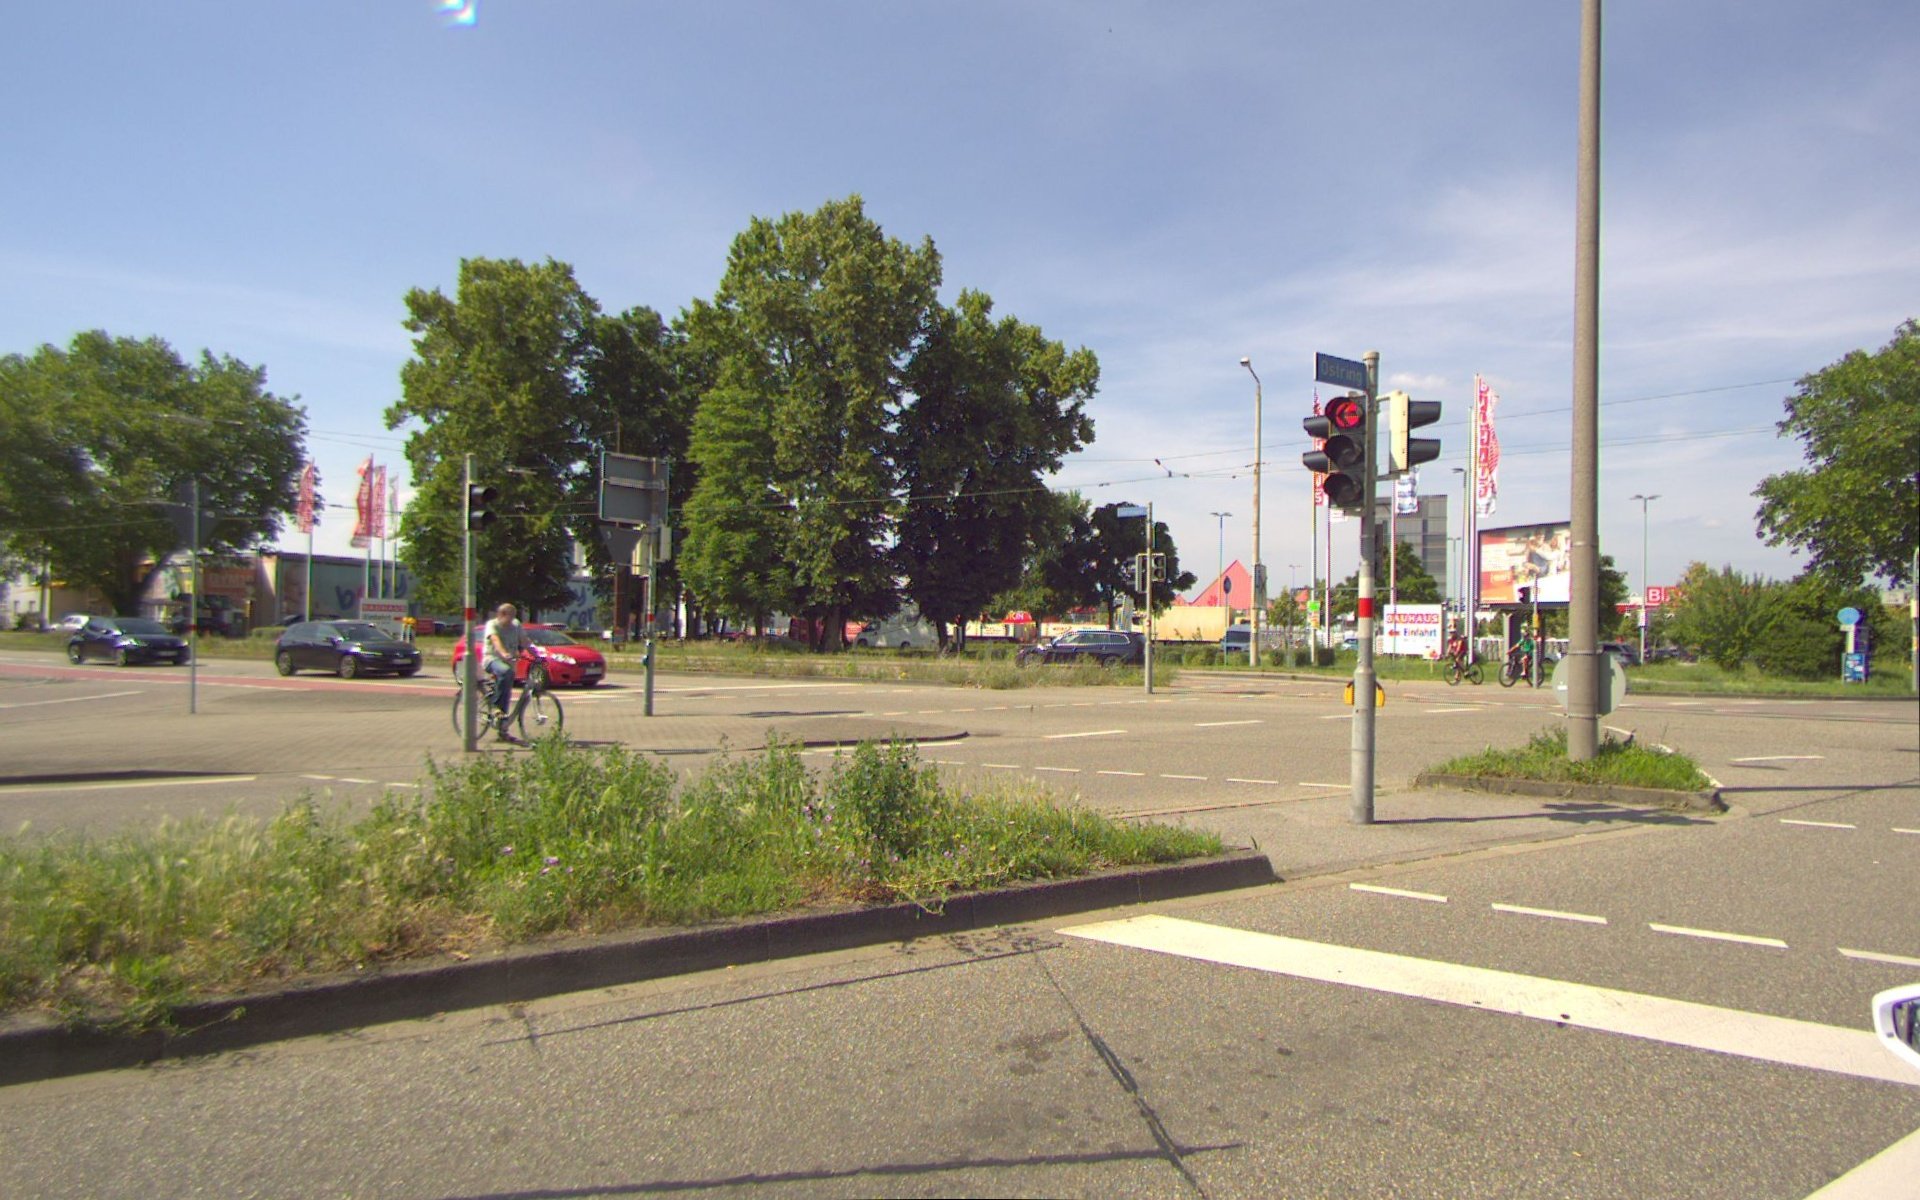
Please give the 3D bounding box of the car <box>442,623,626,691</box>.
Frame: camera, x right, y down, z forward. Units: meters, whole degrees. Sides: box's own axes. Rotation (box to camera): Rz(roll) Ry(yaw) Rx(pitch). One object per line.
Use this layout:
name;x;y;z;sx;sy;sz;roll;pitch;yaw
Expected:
car;-10.123;1.317;23.859;3.924;1.468;1.846;0;-2;24

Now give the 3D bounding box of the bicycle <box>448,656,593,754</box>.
bicycle;-5.521;1.273;12.559;2.128;1.078;0.524;0;-2;31

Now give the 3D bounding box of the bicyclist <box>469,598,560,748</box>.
bicyclist;-5.588;0.893;12.605;0.754;1.812;0.704;0;-2;31

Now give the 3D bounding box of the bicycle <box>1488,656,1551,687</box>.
bicycle;17.649;2.263;31.679;1.963;0.950;0.416;1;-1;-14

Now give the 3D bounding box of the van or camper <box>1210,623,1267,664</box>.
van or camper;16.185;2.497;58.163;2.155;2.239;5.514;0;-2;26

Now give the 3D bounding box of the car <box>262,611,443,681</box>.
car;-16.111;1.192;26.680;3.920;1.721;2.001;0;-2;18

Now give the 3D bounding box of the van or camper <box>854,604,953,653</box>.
van or camper;-3.890;1.920;68.784;6.207;3.141;2.710;1;-1;26

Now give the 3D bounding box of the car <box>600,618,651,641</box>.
car;-34.845;3.103;104.680;2.112;2.308;5.037;0;-2;26

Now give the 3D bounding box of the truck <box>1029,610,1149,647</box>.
truck;10.629;2.323;83.287;9.431;2.930;2.925;0;-2;24

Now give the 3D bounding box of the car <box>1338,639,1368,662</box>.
car;27.912;3.559;71.327;1.787;1.593;4.278;0;-2;24

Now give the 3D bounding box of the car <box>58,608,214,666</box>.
car;-25.920;1.151;31.626;3.921;1.721;2.001;0;-2;19

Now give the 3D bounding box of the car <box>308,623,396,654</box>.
car;-30.284;1.902;49.978;4.379;1.430;1.638;0;-2;26

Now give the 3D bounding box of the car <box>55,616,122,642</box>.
car;-52.603;1.744;60.616;3.788;1.446;1.698;0;-2;26

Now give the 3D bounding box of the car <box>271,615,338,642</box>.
car;-50.772;2.202;77.881;1.971;2.040;3.980;0;-2;41

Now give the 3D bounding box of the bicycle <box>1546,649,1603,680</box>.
bicycle;21.576;2.280;35.268;1.864;1.051;0.594;1;-2;-16

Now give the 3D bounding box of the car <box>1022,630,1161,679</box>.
car;4.274;1.731;32.597;4.140;1.462;1.789;0;-2;21

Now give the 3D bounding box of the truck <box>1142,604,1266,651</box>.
truck;18.475;2.060;76.195;8.753;3.355;3.159;0;-2;23

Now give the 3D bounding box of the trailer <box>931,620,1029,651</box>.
trailer;1.724;3.051;87.434;8.057;2.523;2.924;0;-2;26

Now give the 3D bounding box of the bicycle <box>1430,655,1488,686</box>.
bicycle;16.004;2.248;32.198;1.719;0.950;0.434;1;-1;-8

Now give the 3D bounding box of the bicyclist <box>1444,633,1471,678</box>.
bicyclist;15.971;1.780;32.247;0.598;1.432;0.529;1;-1;-7

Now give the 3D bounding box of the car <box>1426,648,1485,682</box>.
car;26.363;3.429;53.598;2.157;1.593;4.579;1;-2;17

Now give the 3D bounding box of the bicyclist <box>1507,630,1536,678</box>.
bicyclist;17.705;1.704;31.700;0.599;1.511;0.528;1;-1;-15

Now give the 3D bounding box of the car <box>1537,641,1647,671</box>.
car;33.640;2.939;53.588;2.180;1.432;4.529;2;-2;-37
